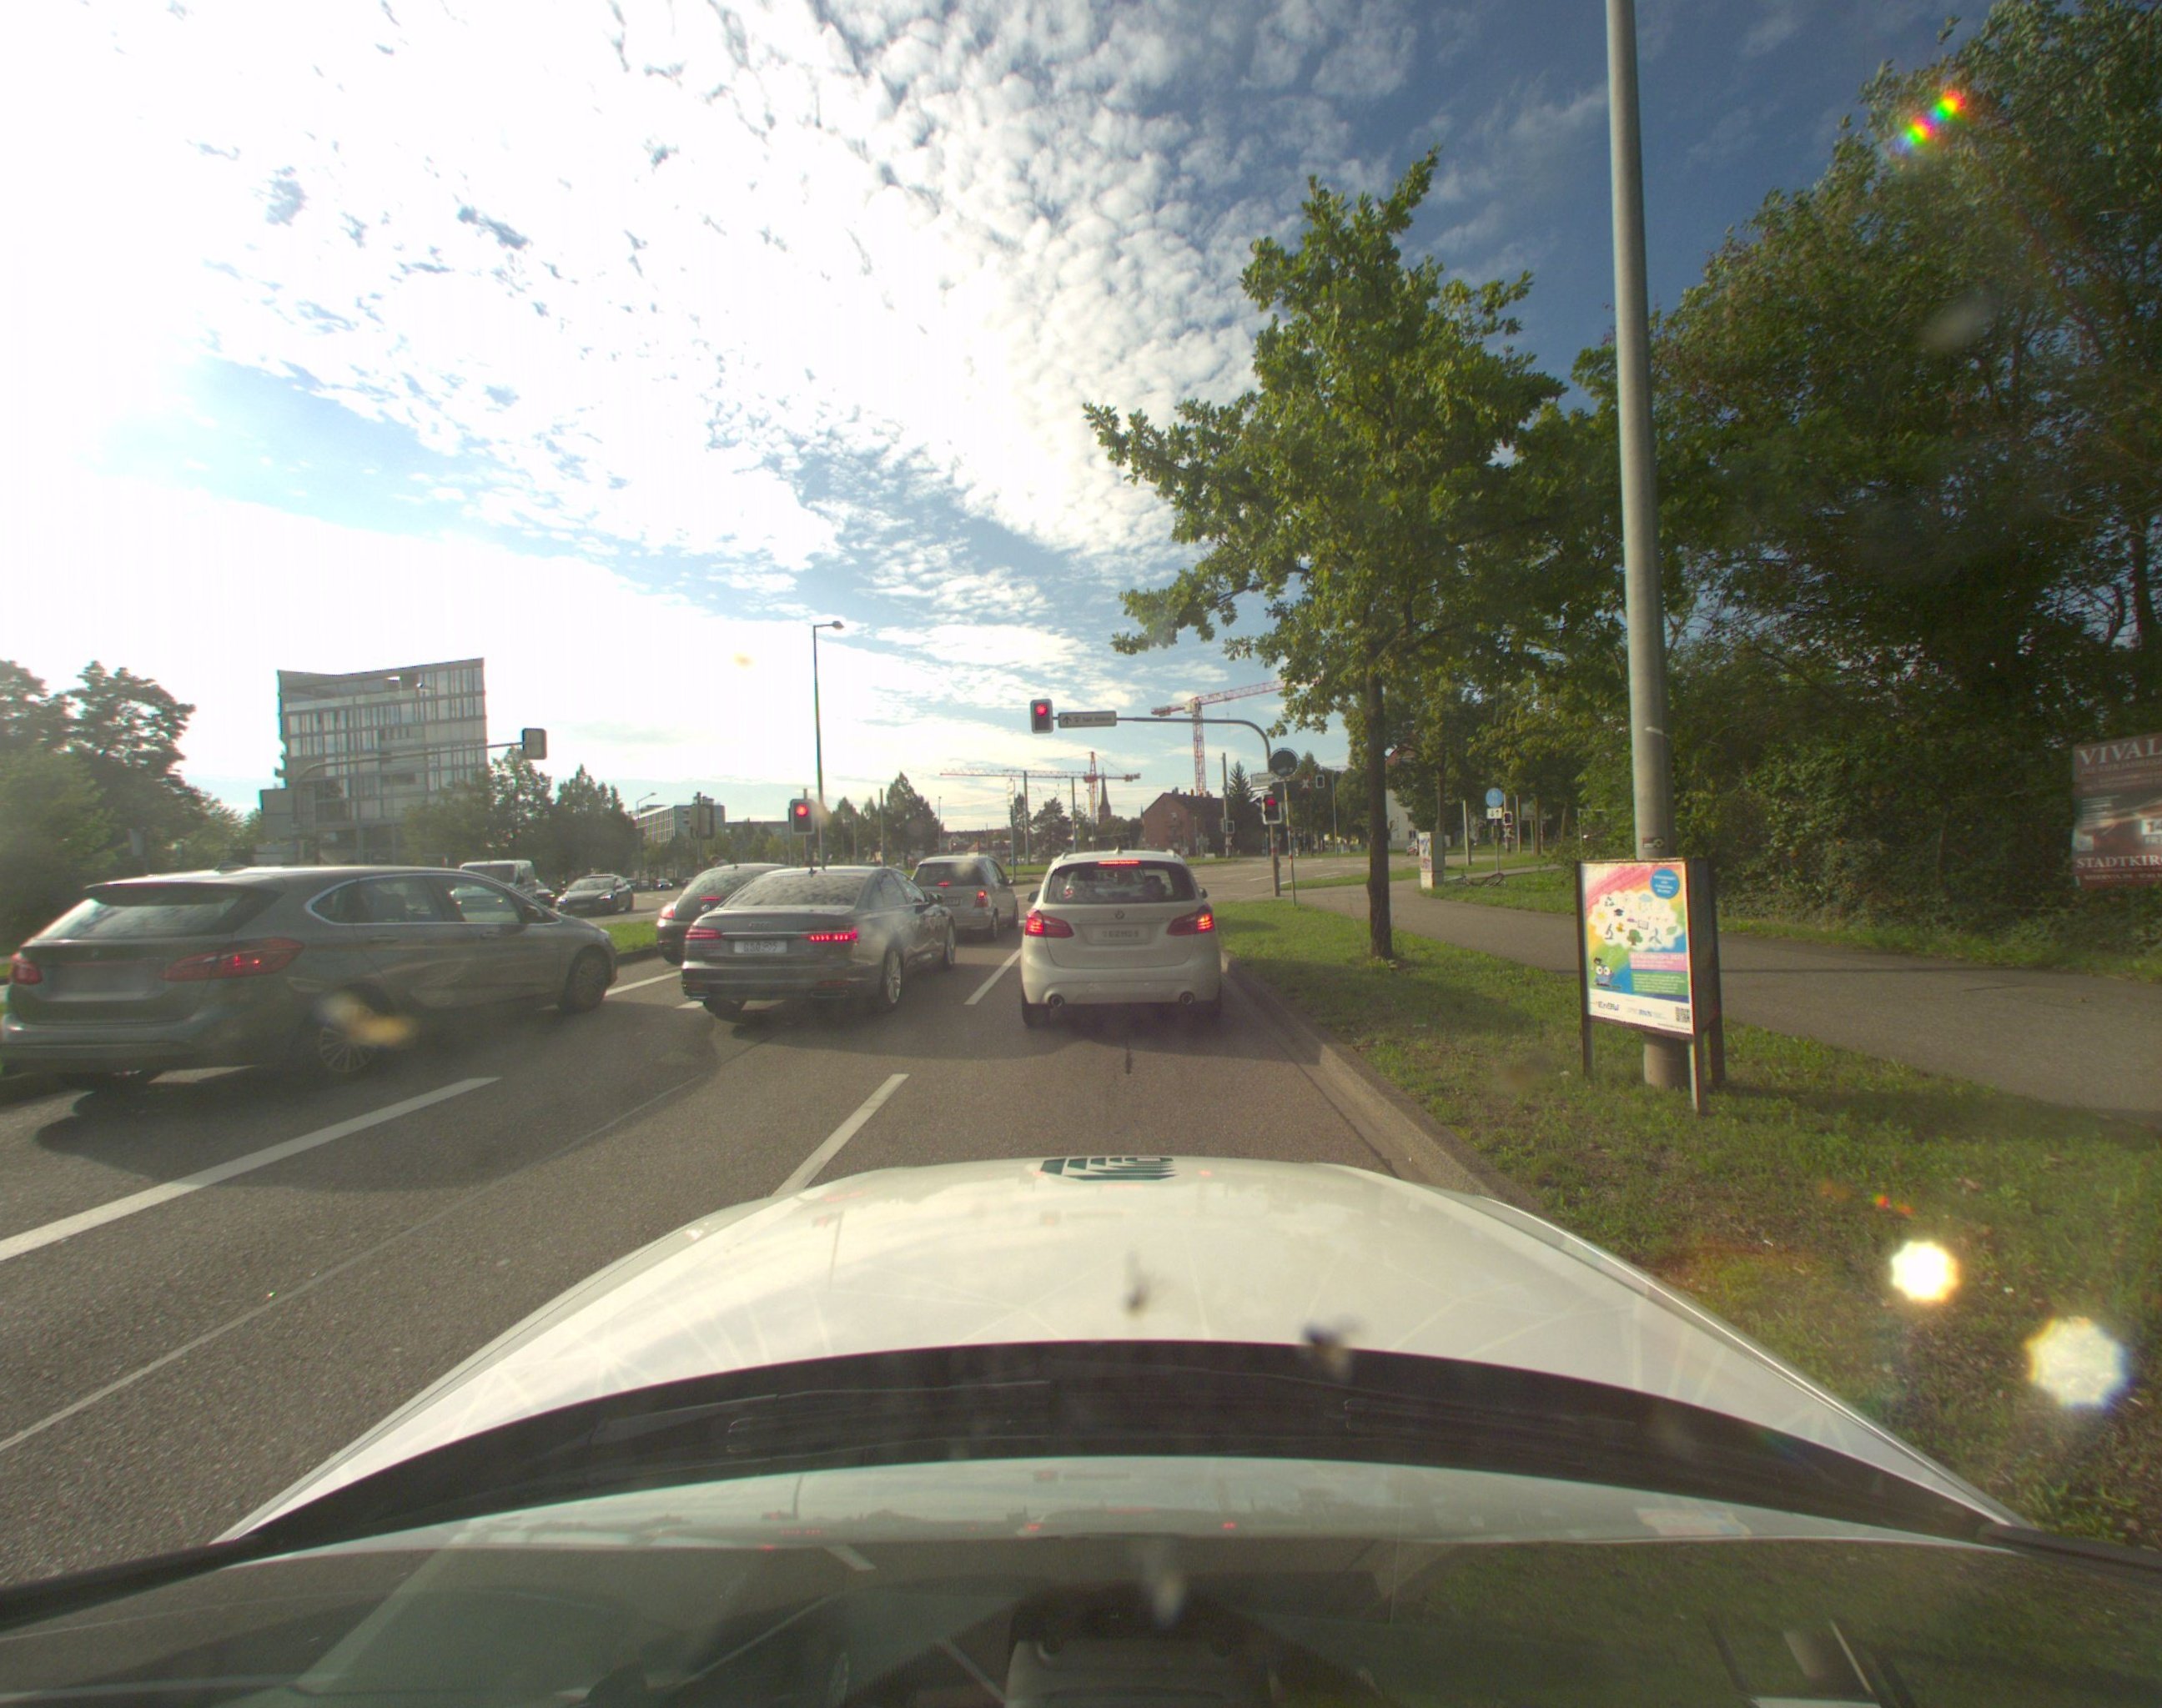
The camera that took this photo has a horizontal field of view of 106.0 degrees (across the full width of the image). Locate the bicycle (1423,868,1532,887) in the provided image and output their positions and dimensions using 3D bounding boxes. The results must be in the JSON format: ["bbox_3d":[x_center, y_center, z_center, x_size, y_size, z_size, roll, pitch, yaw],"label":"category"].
[{"bbox_3d":[10.522,0.612,21.784,1.407,0.385,2.568,-3,0,-9],"label":"bicycle"}]

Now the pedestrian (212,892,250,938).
[{"bbox_3d":[-30.180,2.154,28.911,0.653,1.569,0.615,-2,-1,-3],"label":"pedestrian"}]

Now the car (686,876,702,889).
[{"bbox_3d":[-47.873,3.472,100.786,1.624,1.464,3.698,-3,0,-27],"label":"car"}]

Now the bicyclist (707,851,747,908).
[{"bbox_3d":[-9.906,0.711,22.821,0.850,1.526,0.737,-3,-1,-15],"label":"bicyclist"}]

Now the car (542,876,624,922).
[{"bbox_3d":[-18.624,1.648,30.663,1.909,1.409,4.174,-5,0,-23],"label":"car"}]

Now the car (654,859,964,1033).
[{"bbox_3d":[-2.712,0.825,9.416,1.883,1.483,4.614,-1,-1,2],"label":"car"}]

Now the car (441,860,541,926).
[{"bbox_3d":[-23.197,1.480,32.284,2.004,2.235,5.874,-4,0,-25],"label":"car"}]

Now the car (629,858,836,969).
[{"bbox_3d":[-5.515,0.854,13.440,1.674,1.523,3.812,-1,0,1],"label":"car"}]

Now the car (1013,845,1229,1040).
[{"bbox_3d":[0.384,0.721,8.664,1.723,1.558,4.059,-1,0,2],"label":"car"}]

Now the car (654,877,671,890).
[{"bbox_3d":[-51.131,3.644,99.450,1.600,1.415,3.638,-4,-2,-25],"label":"car"}]

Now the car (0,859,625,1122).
[{"bbox_3d":[-5.963,0.849,6.966,1.722,1.558,4.021,-1,0,2],"label":"car"}]

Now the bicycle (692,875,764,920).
[{"bbox_3d":[-9.858,1.199,22.821,1.728,1.163,0.652,-2,-1,-15],"label":"bicycle"}]

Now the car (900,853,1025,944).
[{"bbox_3d":[-2.204,0.769,16.210,1.722,1.558,4.060,-1,0,2],"label":"car"}]

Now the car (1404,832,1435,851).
[{"bbox_3d":[29.668,-1.150,71.373,1.562,1.573,3.203,-2,2,4],"label":"car"}]
